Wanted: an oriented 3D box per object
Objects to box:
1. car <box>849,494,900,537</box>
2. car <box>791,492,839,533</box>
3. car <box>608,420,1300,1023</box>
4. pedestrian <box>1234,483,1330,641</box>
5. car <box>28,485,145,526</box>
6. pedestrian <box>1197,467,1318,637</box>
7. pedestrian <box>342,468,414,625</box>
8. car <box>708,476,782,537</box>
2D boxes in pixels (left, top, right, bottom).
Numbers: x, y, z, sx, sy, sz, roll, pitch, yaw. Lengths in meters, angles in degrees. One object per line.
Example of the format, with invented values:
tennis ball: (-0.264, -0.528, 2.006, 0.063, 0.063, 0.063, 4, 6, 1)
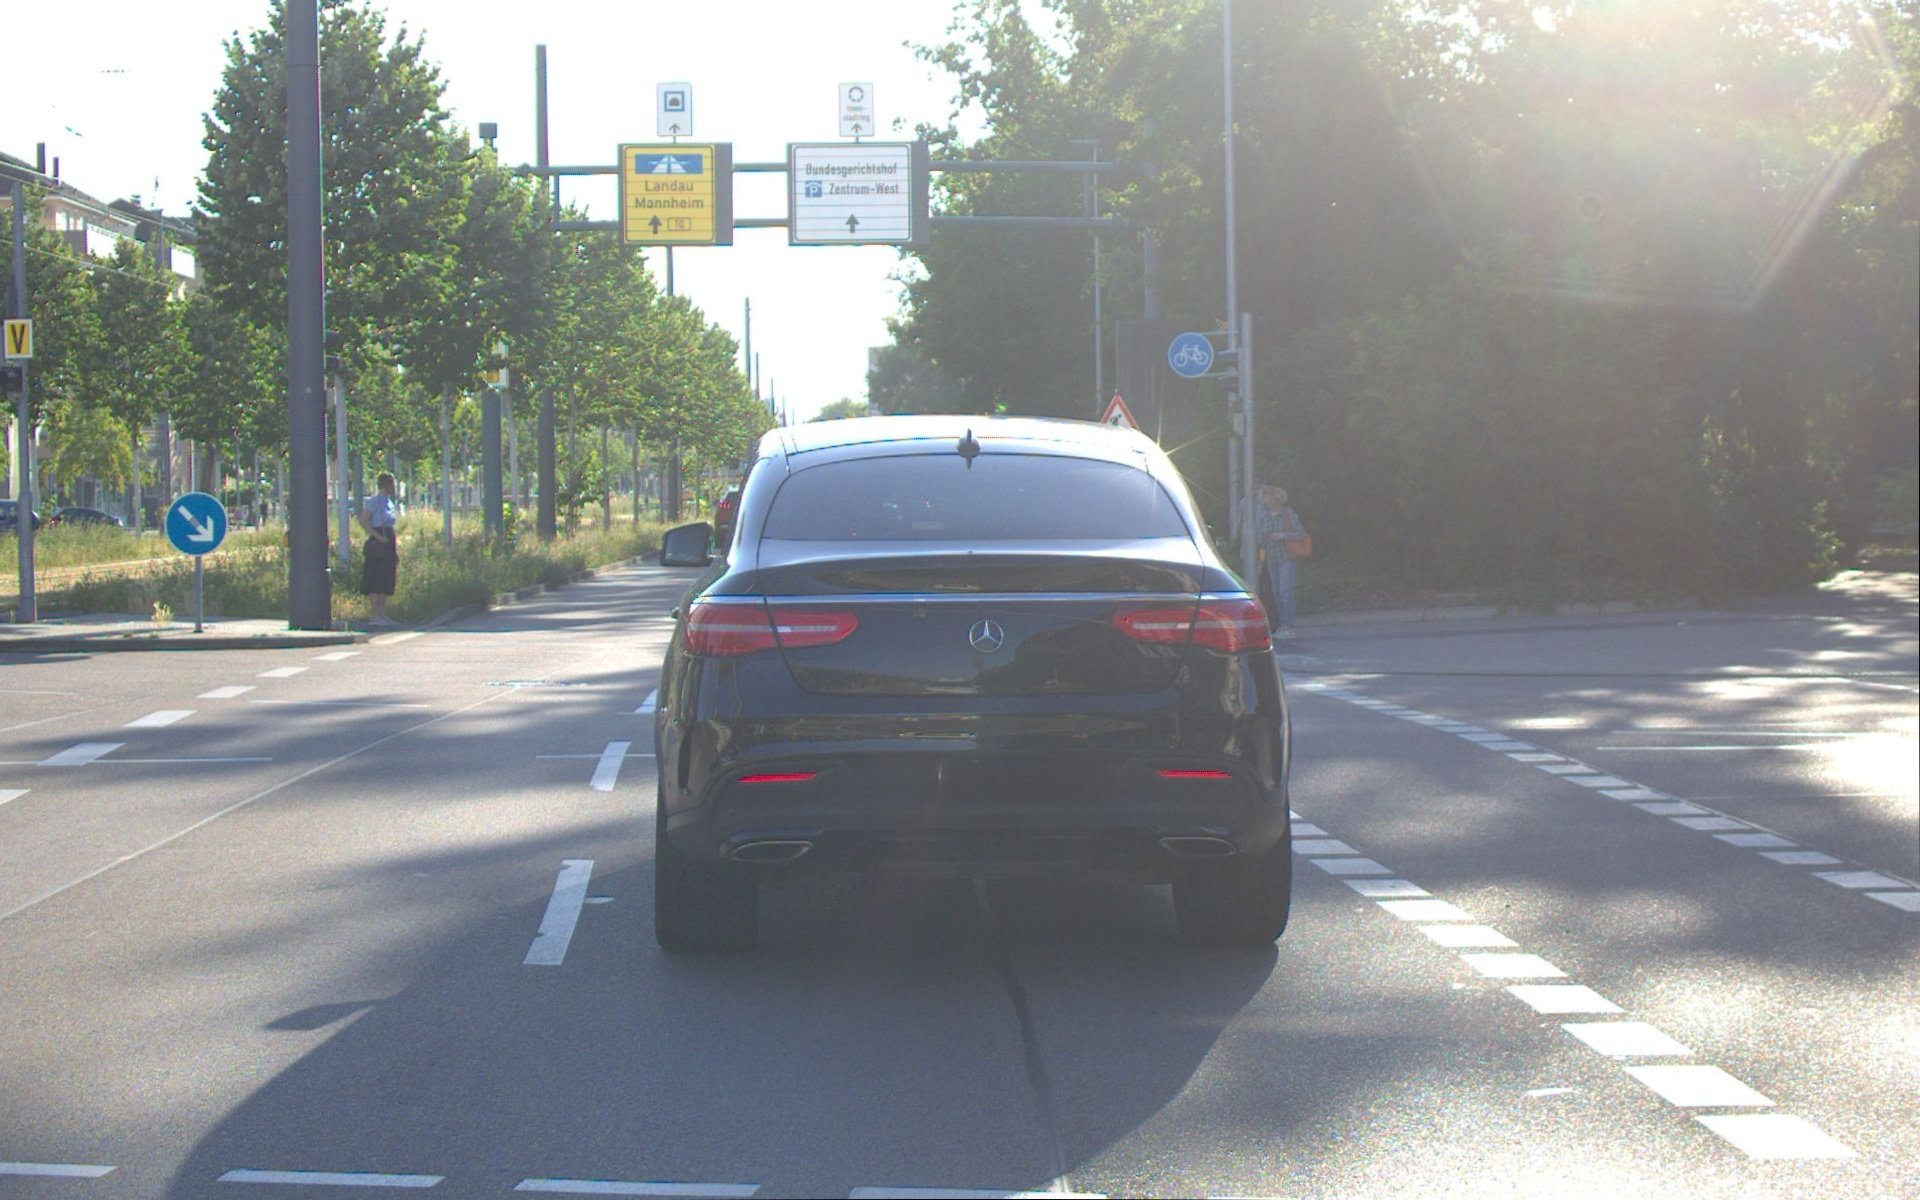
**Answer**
car: (-3.291, -3.256, 131.699, 1.885, 1.575, 4.001, 0, 2, -2)
car: (-5.785, -3.526, 137.672, 1.885, 1.575, 4.001, 0, 2, -2)
car: (0.081, 0.282, 11.933, 1.994, 1.728, 4.000, 0, 2, 3)
pedestrian: (3.419, -0.410, 36.536, 0.766, 1.630, 0.770, -3, 2, -11)
car: (-34.340, -3.712, 135.141, 3.989, 1.557, 1.999, -1, 2, -43)
pedestrian: (3.232, -0.524, 37.367, 0.857, 1.796, 0.907, -4, 2, -36)
pedestrian: (-6.376, -0.589, 37.663, 0.598, 1.693, 0.714, -1, 2, 4)
car: (-5.729, -2.514, 91.991, 1.885, 1.575, 4.001, 0, 2, -2)
